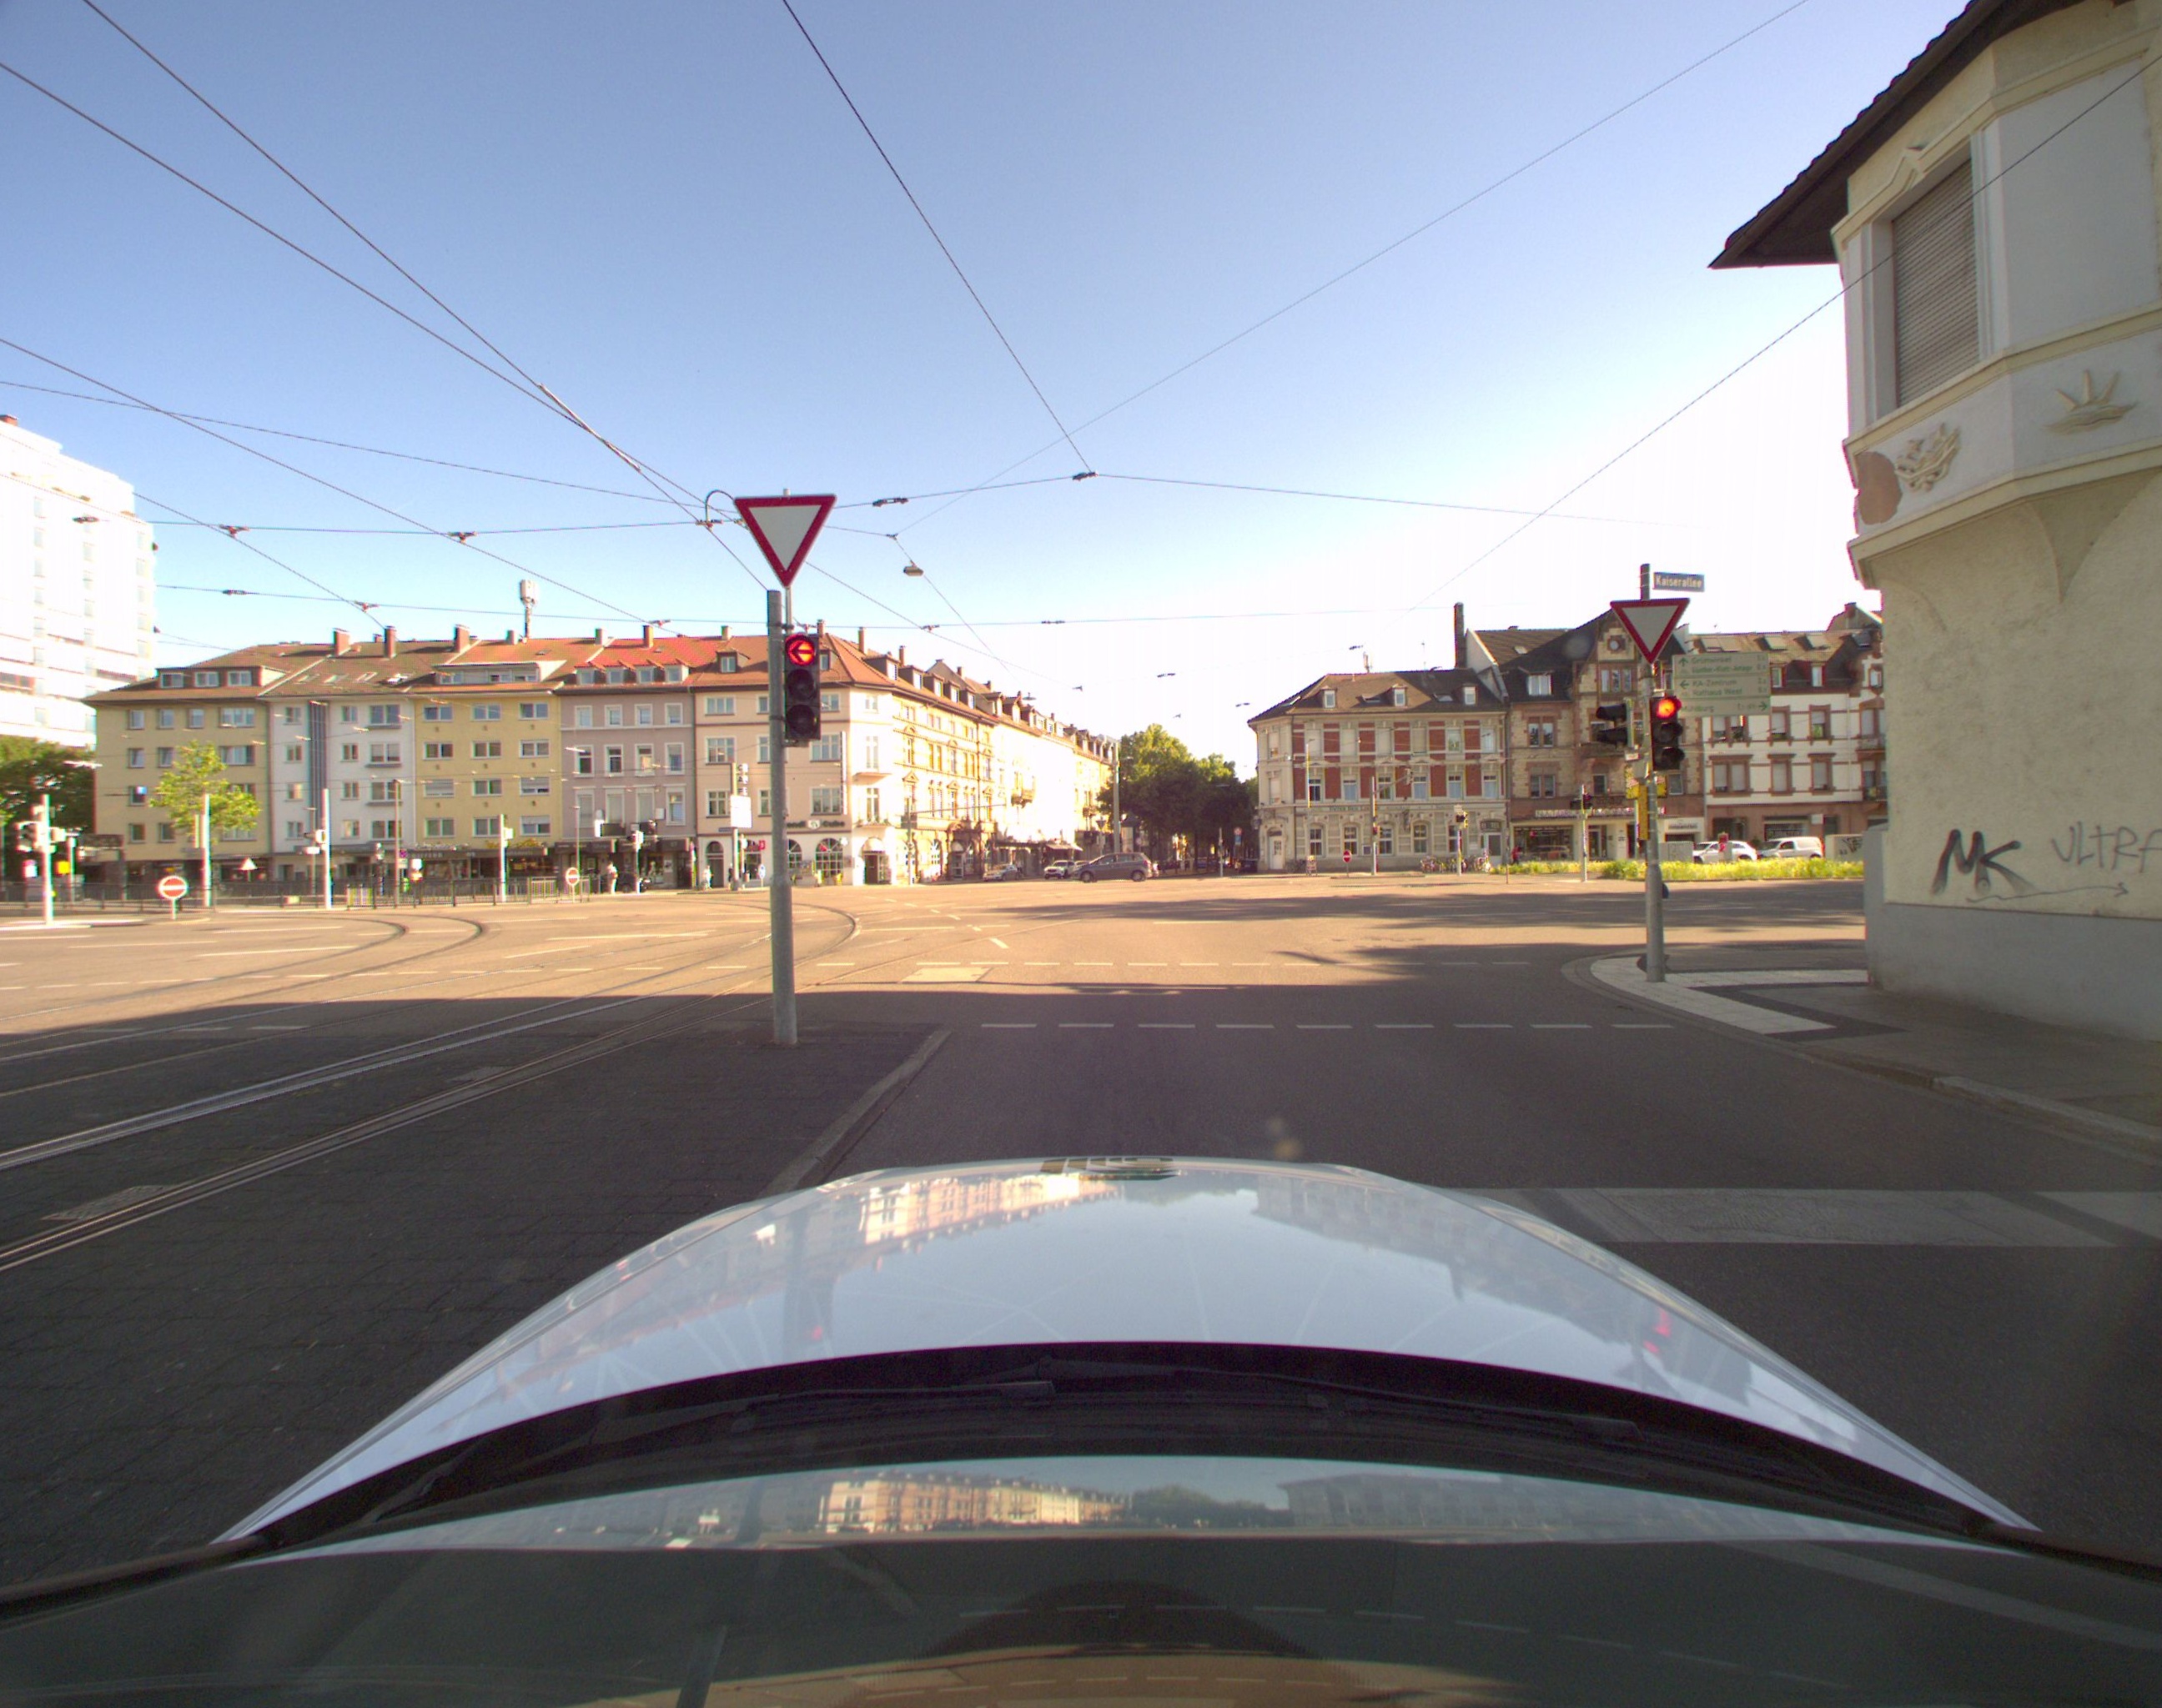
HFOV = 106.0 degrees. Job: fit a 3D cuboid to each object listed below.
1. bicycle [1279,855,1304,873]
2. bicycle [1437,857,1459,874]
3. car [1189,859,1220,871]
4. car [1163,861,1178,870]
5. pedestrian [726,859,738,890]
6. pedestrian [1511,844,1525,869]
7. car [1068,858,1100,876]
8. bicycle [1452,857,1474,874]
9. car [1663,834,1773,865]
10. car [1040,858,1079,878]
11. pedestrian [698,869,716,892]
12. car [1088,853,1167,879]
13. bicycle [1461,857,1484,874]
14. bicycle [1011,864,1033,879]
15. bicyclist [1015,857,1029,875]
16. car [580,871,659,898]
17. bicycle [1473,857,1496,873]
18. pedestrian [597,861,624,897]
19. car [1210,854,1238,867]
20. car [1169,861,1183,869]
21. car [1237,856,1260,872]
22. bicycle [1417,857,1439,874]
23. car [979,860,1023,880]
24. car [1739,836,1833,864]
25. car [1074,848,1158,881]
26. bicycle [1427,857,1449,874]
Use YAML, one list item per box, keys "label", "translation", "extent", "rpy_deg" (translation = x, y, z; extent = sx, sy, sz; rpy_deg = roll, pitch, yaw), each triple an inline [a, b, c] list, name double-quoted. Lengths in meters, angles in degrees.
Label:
- label: "bicycle"
  translation: [14.698, 0.688, 56.944]
  extent: [1.625, 1.222, 0.609]
  rpy_deg: [-1, 0, 18]
- label: "bicycle"
  translation: [23.815, 0.727, 52.875]
  extent: [0.603, 1.051, 1.641]
  rpy_deg: [-1, 0, -3]
- label: "car"
  translation: [17.486, 1.520, 114.998]
  extent: [4.078, 1.646, 1.754]
  rpy_deg: [1, 0, 17]
- label: "car"
  translation: [14.440, 1.804, 131.462]
  extent: [1.728, 1.397, 4.141]
  rpy_deg: [1, 0, 16]
- label: "pedestrian"
  translation: [-22.775, 1.355, 53.126]
  extent: [0.506, 2.013, 0.505]
  rpy_deg: [-1, 0, 5]
- label: "pedestrian"
  translation: [29.900, 0.172, 55.739]
  extent: [0.705, 1.751, 0.421]
  rpy_deg: [-1, 0, 3]
- label: "car"
  translation: [0.293, 1.148, 73.697]
  extent: [1.979, 1.513, 4.015]
  rpy_deg: [-1, 0, 14]
- label: "bicycle"
  translation: [24.642, 0.719, 52.575]
  extent: [0.603, 1.051, 1.641]
  rpy_deg: [-1, 0, -3]
- label: "car"
  translation: [37.237, -0.274, 47.678]
  extent: [4.830, 1.660, 2.001]
  rpy_deg: [-1, 0, 1]
- label: "car"
  translation: [-1.728, 1.160, 67.374]
  extent: [2.080, 1.499, 4.017]
  rpy_deg: [-2, 0, 16]
- label: "pedestrian"
  translation: [-25.814, 1.827, 56.198]
  extent: [0.787, 1.527, 0.860]
  rpy_deg: [-1, 0, 2]
- label: "car"
  translation: [2.698, 0.700, 48.052]
  extent: [4.496, 1.341, 2.000]
  rpy_deg: [-2, 0, 0]
- label: "bicycle"
  translation: [25.317, 0.714, 52.625]
  extent: [0.603, 1.051, 1.641]
  rpy_deg: [-1, 0, -3]
- label: "bicycle"
  translation: [-4.767, 1.427, 65.904]
  extent: [0.745, 1.135, 2.821]
  rpy_deg: [-1, 0, 16]
- label: "bicyclist"
  translation: [-4.764, 0.984, 65.875]
  extent: [0.787, 1.375, 1.113]
  rpy_deg: [-1, 0, 16]
- label: "car"
  translation: [-30.272, 1.990, 53.536]
  extent: [3.978, 1.464, 1.998]
  rpy_deg: [-2, 0, -4]
- label: "bicycle"
  translation: [26.056, 0.709, 52.617]
  extent: [0.603, 1.051, 1.641]
  rpy_deg: [-1, 0, -3]
- label: "pedestrian"
  translation: [-24.567, 1.309, 42.559]
  extent: [0.871, 1.818, 0.811]
  rpy_deg: [-1, 0, 2]
- label: "car"
  translation: [23.372, 1.079, 133.078]
  extent: [4.074, 1.919, 1.756]
  rpy_deg: [1, 0, 23]
- label: "car"
  translation: [15.864, 1.827, 136.209]
  extent: [1.728, 1.397, 4.141]
  rpy_deg: [1, 0, 16]
- label: "car"
  translation: [16.907, 0.987, 82.057]
  extent: [1.637, 1.524, 3.772]
  rpy_deg: [-2, -1, 20]
- label: "bicycle"
  translation: [22.499, 0.737, 52.845]
  extent: [0.603, 1.051, 1.641]
  rpy_deg: [-1, 0, -3]
- label: "car"
  translation: [-6.596, 1.301, 67.704]
  extent: [2.080, 1.545, 4.382]
  rpy_deg: [-2, 0, 16]
- label: "car"
  translation: [45.387, -0.235, 52.478]
  extent: [4.356, 1.654, 1.999]
  rpy_deg: [-1, 0, -2]
- label: "car"
  translation: [1.928, 0.587, 45.034]
  extent: [4.494, 1.672, 2.000]
  rpy_deg: [-1, 0, 1]
- label: "bicycle"
  translation: [23.152, 0.732, 52.875]
  extent: [0.603, 1.051, 1.641]
  rpy_deg: [-1, 0, -3]
